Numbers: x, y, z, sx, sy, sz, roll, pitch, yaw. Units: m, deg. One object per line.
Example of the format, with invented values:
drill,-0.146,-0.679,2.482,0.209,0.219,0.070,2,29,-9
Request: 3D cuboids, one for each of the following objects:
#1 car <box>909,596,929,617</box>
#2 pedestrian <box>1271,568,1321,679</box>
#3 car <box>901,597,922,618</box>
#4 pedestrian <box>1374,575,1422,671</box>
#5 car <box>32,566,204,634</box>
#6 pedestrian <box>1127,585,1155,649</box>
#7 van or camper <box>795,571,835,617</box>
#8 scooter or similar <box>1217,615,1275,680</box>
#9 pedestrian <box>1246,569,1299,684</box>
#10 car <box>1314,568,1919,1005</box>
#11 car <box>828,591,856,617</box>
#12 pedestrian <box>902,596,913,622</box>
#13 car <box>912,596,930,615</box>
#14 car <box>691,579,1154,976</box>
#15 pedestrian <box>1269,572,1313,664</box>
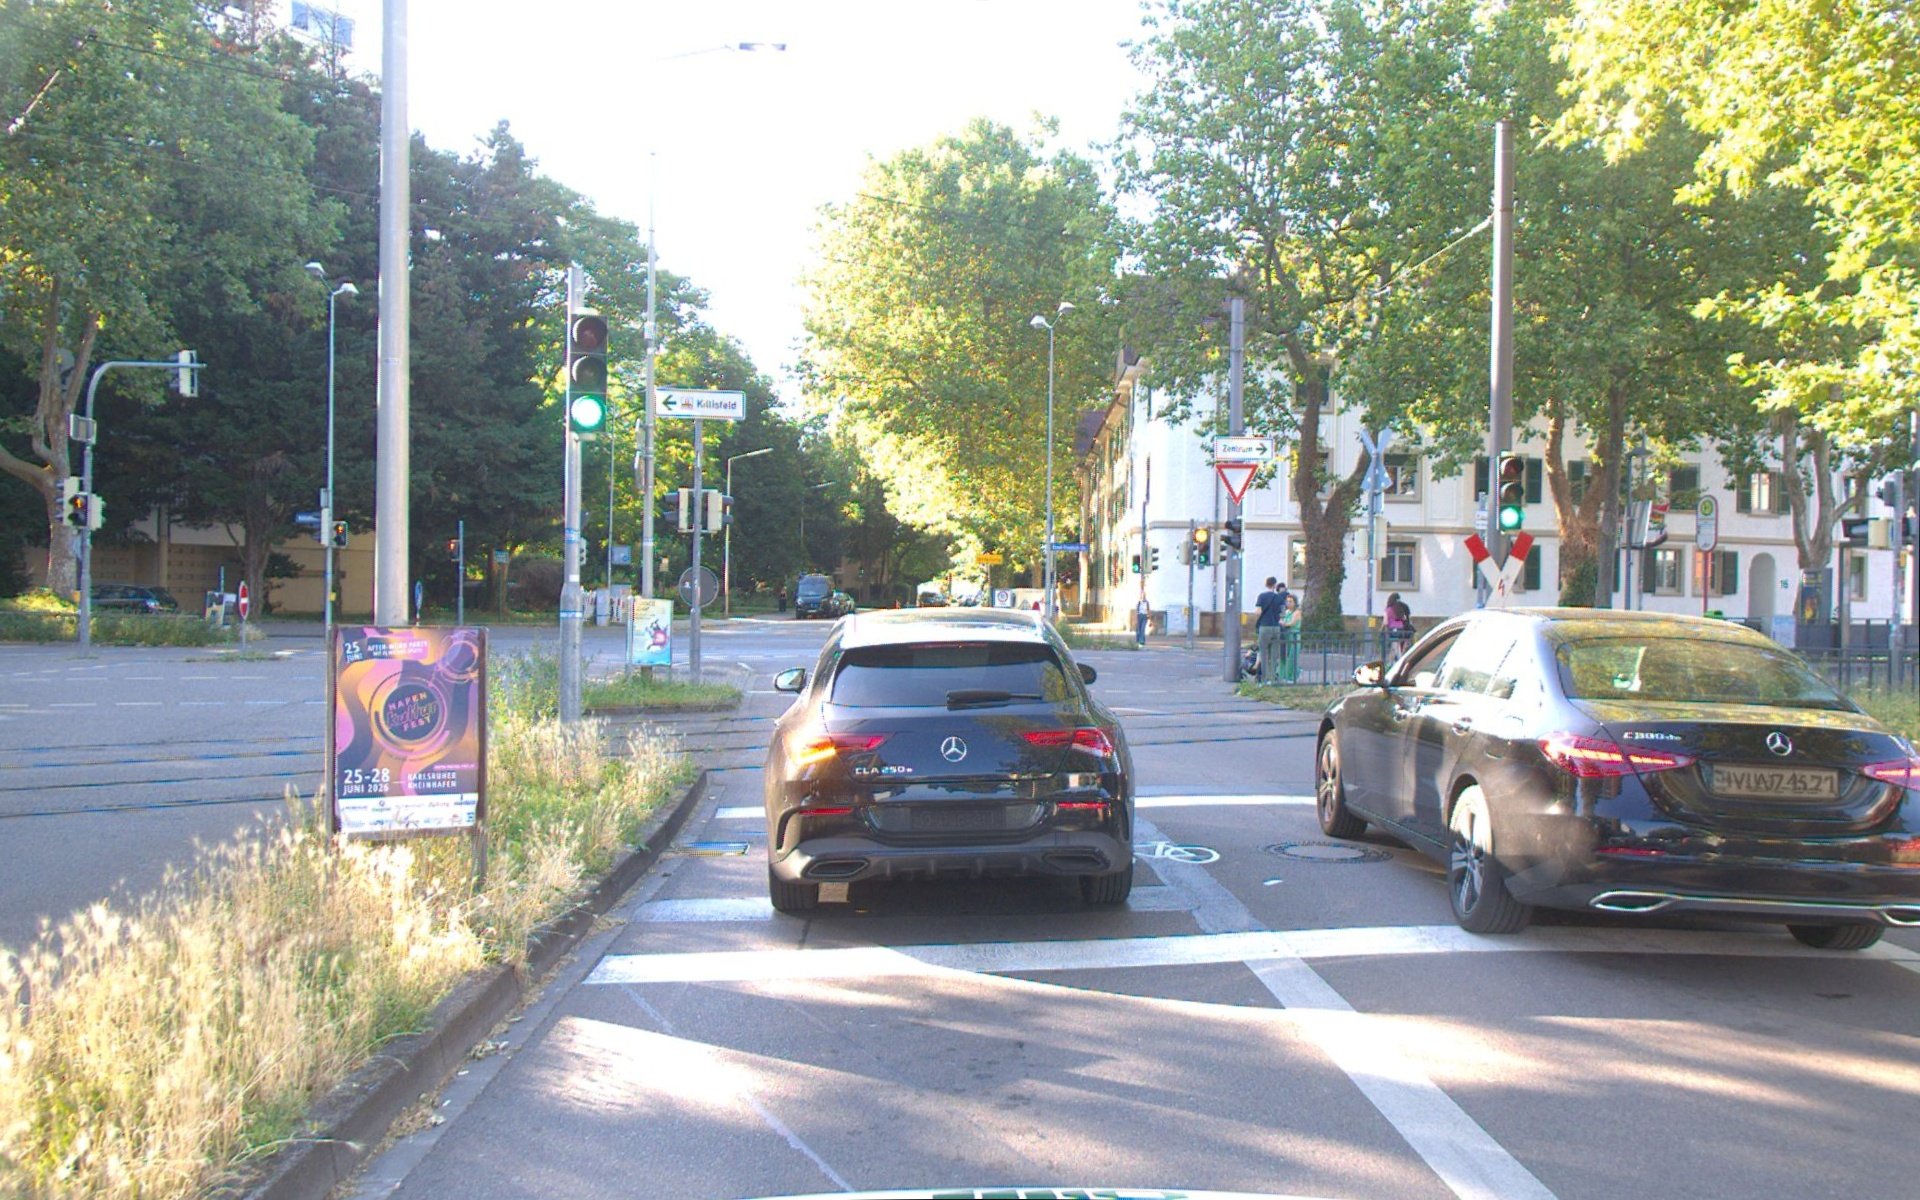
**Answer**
car,-3.663,0.615,149.148,1.698,1.796,4.018,1,0,-1
pedestrian,6.006,0.420,29.591,0.669,1.951,0.706,1,-1,-5
car,-4.245,0.630,144.186,1.698,1.796,4.018,1,0,-1
pedestrian,9.162,0.479,34.608,0.691,1.951,0.838,1,-1,-4
car,-24.259,0.007,47.717,3.902,1.805,2.001,1,-1,7
pedestrian,5.595,0.520,51.078,0.691,1.951,0.838,1,-1,-4
van or camper,-8.582,-0.338,98.452,1.953,2.586,4.650,1,0,0
scooter or similar,5.113,0.840,29.596,0.812,1.124,0.808,1,-1,-6
pedestrian,5.420,0.453,28.712,0.692,1.951,0.683,1,-1,-8
car,3.184,0.659,8.334,1.851,1.516,4.382,2,2,0
car,-8.241,0.287,115.694,1.698,1.796,4.084,1,0,-1
pedestrian,-4.109,0.704,128.783,0.692,1.951,0.837,1,-1,-11
car,-3.697,0.521,157.232,1.698,1.796,4.018,1,0,-1
car,-0.131,0.703,8.748,1.851,1.475,4.001,2,2,1
pedestrian,7.155,0.389,35.771,0.691,1.951,0.838,1,-1,-5
